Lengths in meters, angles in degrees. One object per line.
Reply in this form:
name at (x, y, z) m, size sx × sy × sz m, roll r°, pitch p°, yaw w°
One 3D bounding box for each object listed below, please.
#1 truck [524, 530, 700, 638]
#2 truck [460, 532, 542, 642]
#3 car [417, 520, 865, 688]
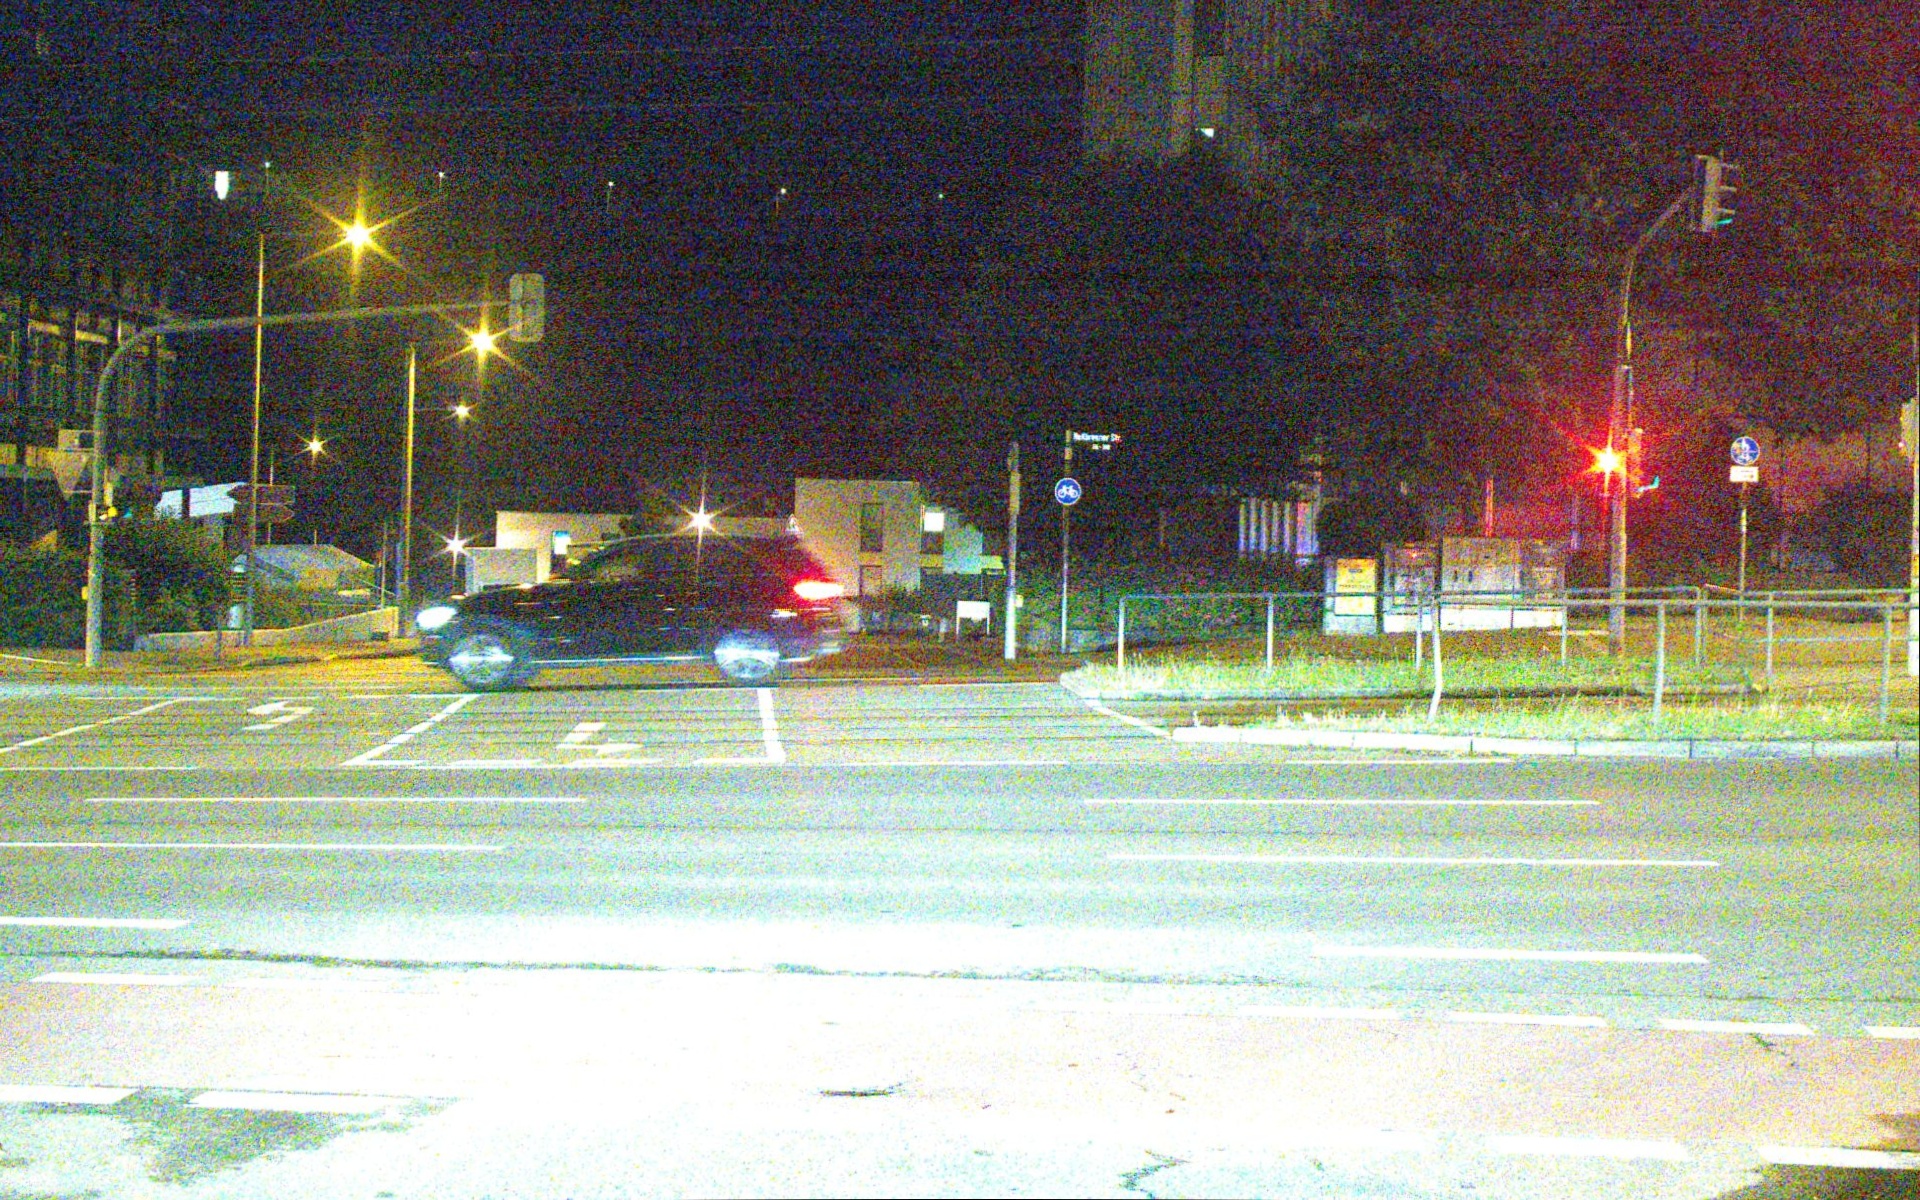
truck at (-15.448, -0.755, 151.234) m, size 4.821 × 4.531 × 12.669 m, roll 1°, pitch 1°, yaw -19°
truck at (-15.958, -0.465, 119.243) m, size 2.582 × 3.694 × 5.739 m, roll 1°, pitch 1°, yaw -9°
car at (-3.433, 0.026, 37.618) m, size 4.618 × 1.722 × 2.000 m, roll 1°, pitch 0°, yaw 3°
